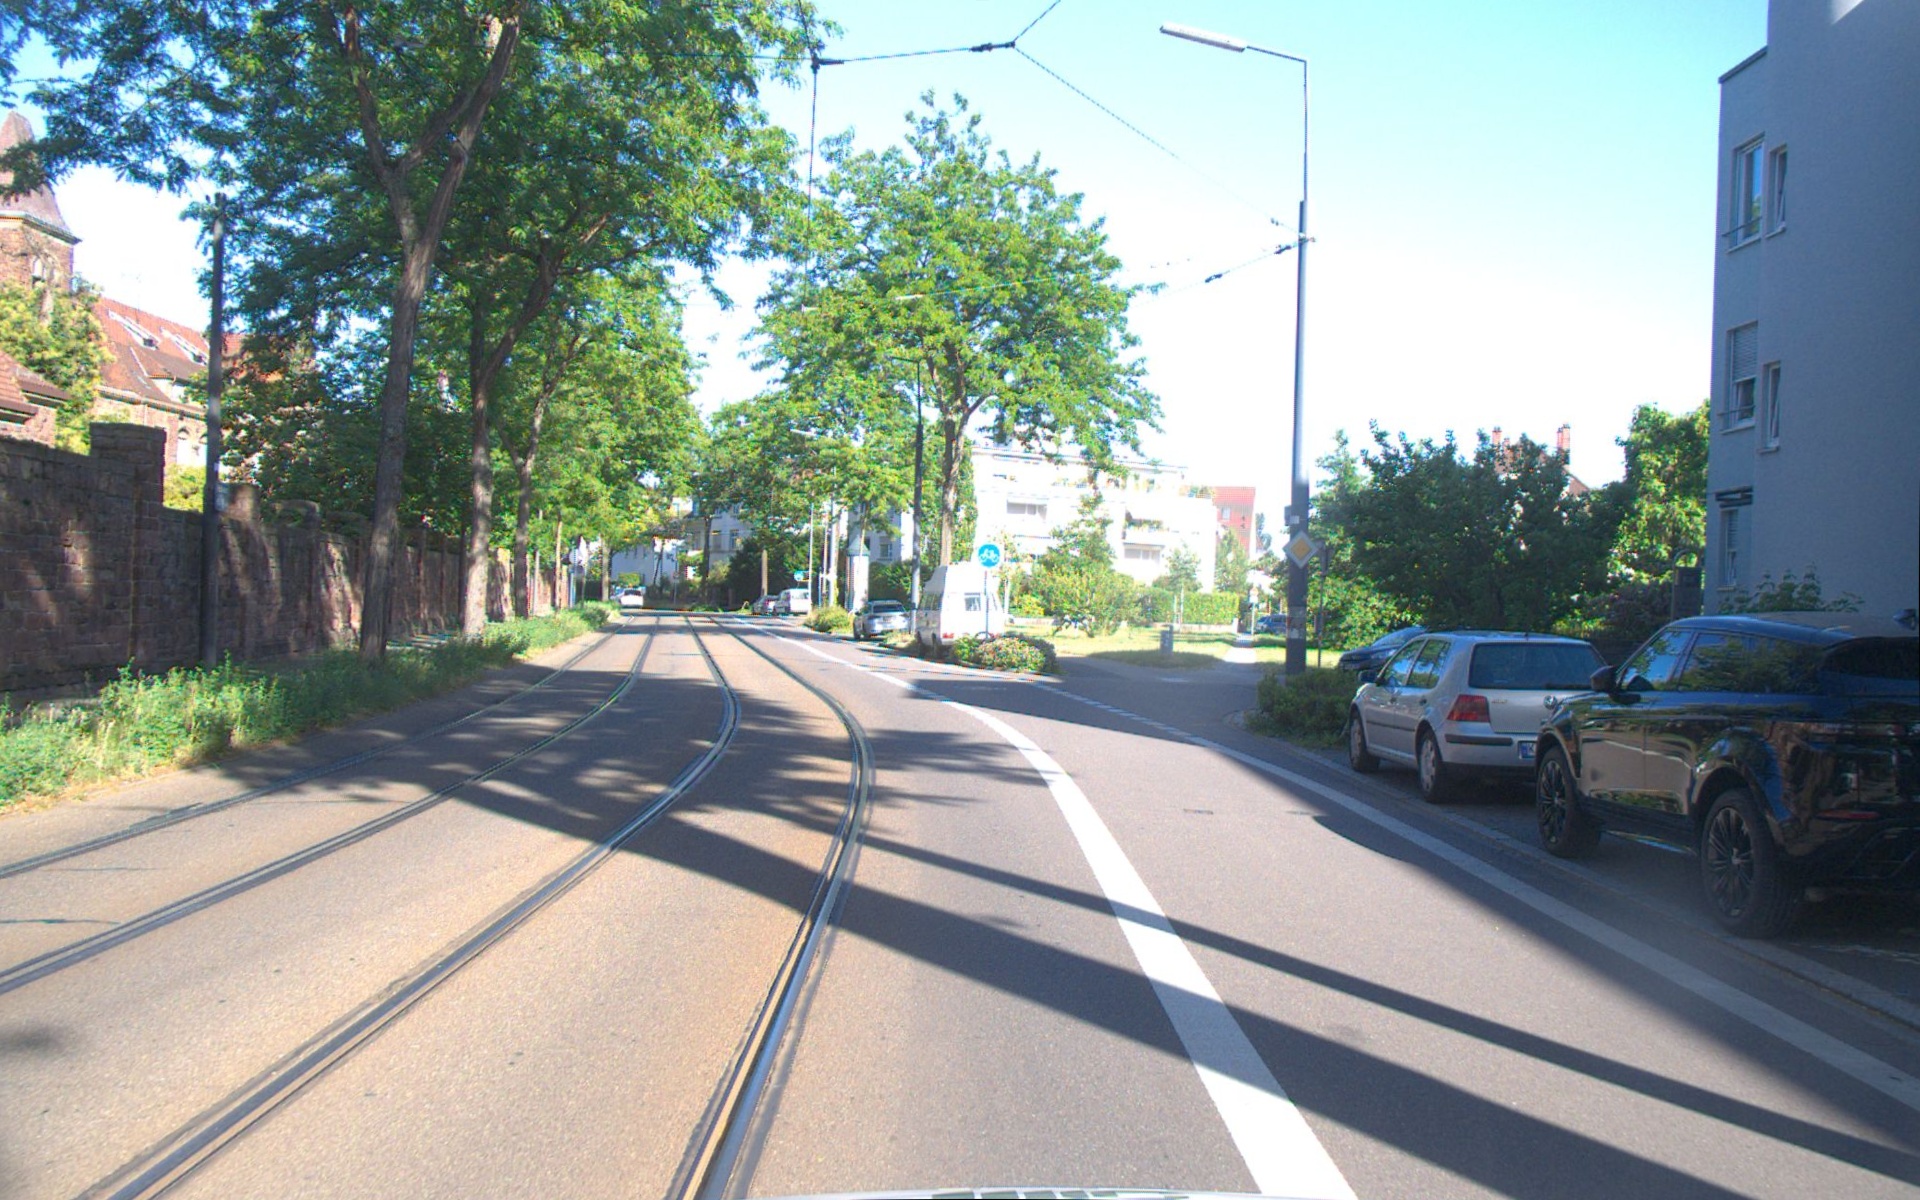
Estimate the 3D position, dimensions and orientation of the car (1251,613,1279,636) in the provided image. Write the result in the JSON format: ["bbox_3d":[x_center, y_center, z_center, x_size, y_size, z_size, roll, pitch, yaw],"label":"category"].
[{"bbox_3d":[23.515,1.886,127.468,2.002,1.738,4.291,2,0,12],"label":"car"}]

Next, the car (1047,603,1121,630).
[{"bbox_3d":[7.748,1.047,103.353,4.221,1.537,1.827,2,-3,-22],"label":"car"}]

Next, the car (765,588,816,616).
[{"bbox_3d":[-11.657,0.131,113.374,1.997,1.777,4.714,1,0,-25],"label":"car"}]

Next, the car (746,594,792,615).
[{"bbox_3d":[-13.749,0.292,118.966,1.969,1.448,4.296,1,-1,-26],"label":"car"}]

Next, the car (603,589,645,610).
[{"bbox_3d":[-27.251,-0.029,134.174,1.875,1.639,4.179,2,-2,-33],"label":"car"}]

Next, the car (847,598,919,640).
[{"bbox_3d":[-3.035,0.715,63.863,1.965,1.491,5.418,-2,0,-11],"label":"car"}]

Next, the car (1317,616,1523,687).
[{"bbox_3d":[10.500,1.213,37.737,4.398,1.516,1.990,1,-4,-29],"label":"car"}]

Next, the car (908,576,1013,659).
[{"bbox_3d":[-0.052,0.454,45.825,1.958,2.132,4.703,1,0,-12],"label":"car"}]

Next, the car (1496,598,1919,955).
[{"bbox_3d":[4.947,0.843,9.955,1.953,1.644,4.600,1,0,0],"label":"car"}]

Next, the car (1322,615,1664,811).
[{"bbox_3d":[4.827,0.940,15.701,1.703,1.522,4.529,2,0,-1],"label":"car"}]
